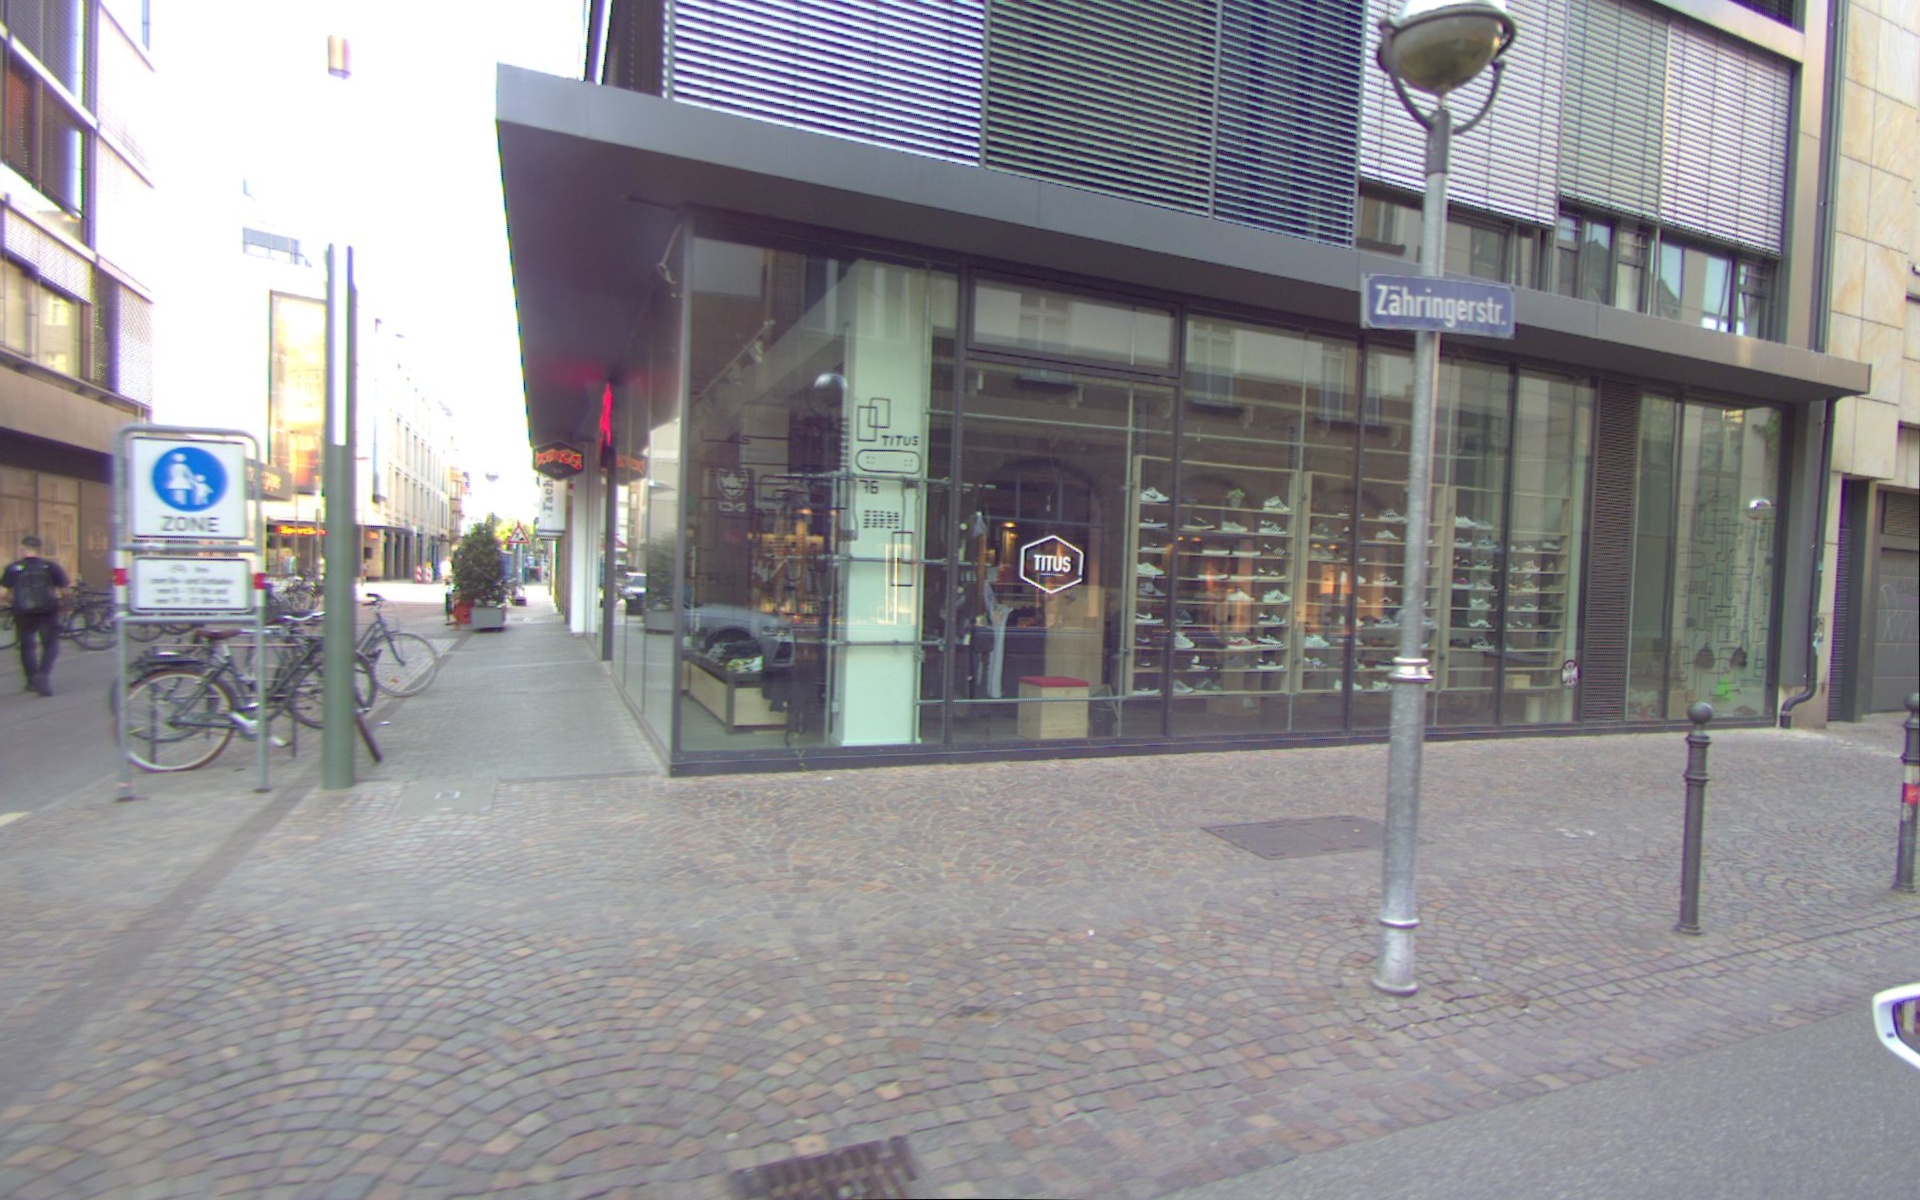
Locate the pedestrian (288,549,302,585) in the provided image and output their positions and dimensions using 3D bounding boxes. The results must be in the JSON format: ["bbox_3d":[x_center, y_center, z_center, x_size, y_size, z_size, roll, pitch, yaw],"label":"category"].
[{"bbox_3d":[-30.000,-1.494,45.279,0.474,1.573,0.430,1,2,-39],"label":"pedestrian"}]

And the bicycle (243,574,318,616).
[{"bbox_3d":[-19.524,-0.144,28.874,1.710,1.161,0.463,1,1,-25],"label":"bicycle"}]

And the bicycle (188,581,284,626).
[{"bbox_3d":[-17.326,0.080,24.075,1.771,1.022,0.528,1,1,-25],"label":"bicycle"}]

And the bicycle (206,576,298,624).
[{"bbox_3d":[-17.883,0.007,25.420,1.823,1.151,0.463,1,1,-25],"label":"bicycle"}]

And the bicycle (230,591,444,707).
[{"bbox_3d":[-6.624,0.500,10.798,1.885,1.160,0.553,0,2,-25],"label":"bicycle"}]

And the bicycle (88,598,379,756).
[{"bbox_3d":[-5.828,0.577,8.193,1.816,1.166,0.606,0,2,-25],"label":"bicycle"}]

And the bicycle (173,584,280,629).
[{"bbox_3d":[-16.766,0.159,23.004,1.918,0.970,0.463,1,1,-25],"label":"bicycle"}]

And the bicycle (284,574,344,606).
[{"bbox_3d":[-22.525,-0.348,35.064,1.710,1.076,0.434,1,1,-25],"label":"bicycle"}]

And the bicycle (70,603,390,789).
[{"bbox_3d":[-4.924,0.603,6.927,1.651,1.128,0.705,0,2,-25],"label":"bicycle"}]

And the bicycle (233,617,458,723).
[{"bbox_3d":[-5.790,0.636,9.573,1.769,0.907,0.451,0,2,-25],"label":"bicycle"}]

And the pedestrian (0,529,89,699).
[{"bbox_3d":[-10.319,0.139,11.287,0.733,1.809,0.958,1,2,-38],"label":"pedestrian"}]

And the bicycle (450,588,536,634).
[{"bbox_3d":[-10.608,0.242,22.854,1.769,1.028,0.365,0,2,-25],"label":"bicycle"}]

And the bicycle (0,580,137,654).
[{"bbox_3d":[-13.790,0.268,15.546,1.521,1.099,0.545,1,1,-25],"label":"bicycle"}]

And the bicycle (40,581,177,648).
[{"bbox_3d":[-14.667,0.250,17.351,1.704,1.106,0.545,1,1,-25],"label":"bicycle"}]

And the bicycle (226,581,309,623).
[{"bbox_3d":[-18.336,0.065,26.629,1.753,1.065,0.463,1,1,-25],"label":"bicycle"}]

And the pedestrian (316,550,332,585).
[{"bbox_3d":[-29.264,-1.471,46.204,0.372,1.594,0.478,2,1,15],"label":"pedestrian"}]

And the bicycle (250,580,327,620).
[{"bbox_3d":[-18.564,0.006,27.799,1.710,1.065,0.463,1,1,-25],"label":"bicycle"}]

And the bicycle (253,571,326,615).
[{"bbox_3d":[-19.806,-0.208,29.695,1.710,1.245,0.463,1,1,-25],"label":"bicycle"}]

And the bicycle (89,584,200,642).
[{"bbox_3d":[-15.370,0.249,18.969,1.535,1.051,0.463,1,1,-25],"label":"bicycle"}]
